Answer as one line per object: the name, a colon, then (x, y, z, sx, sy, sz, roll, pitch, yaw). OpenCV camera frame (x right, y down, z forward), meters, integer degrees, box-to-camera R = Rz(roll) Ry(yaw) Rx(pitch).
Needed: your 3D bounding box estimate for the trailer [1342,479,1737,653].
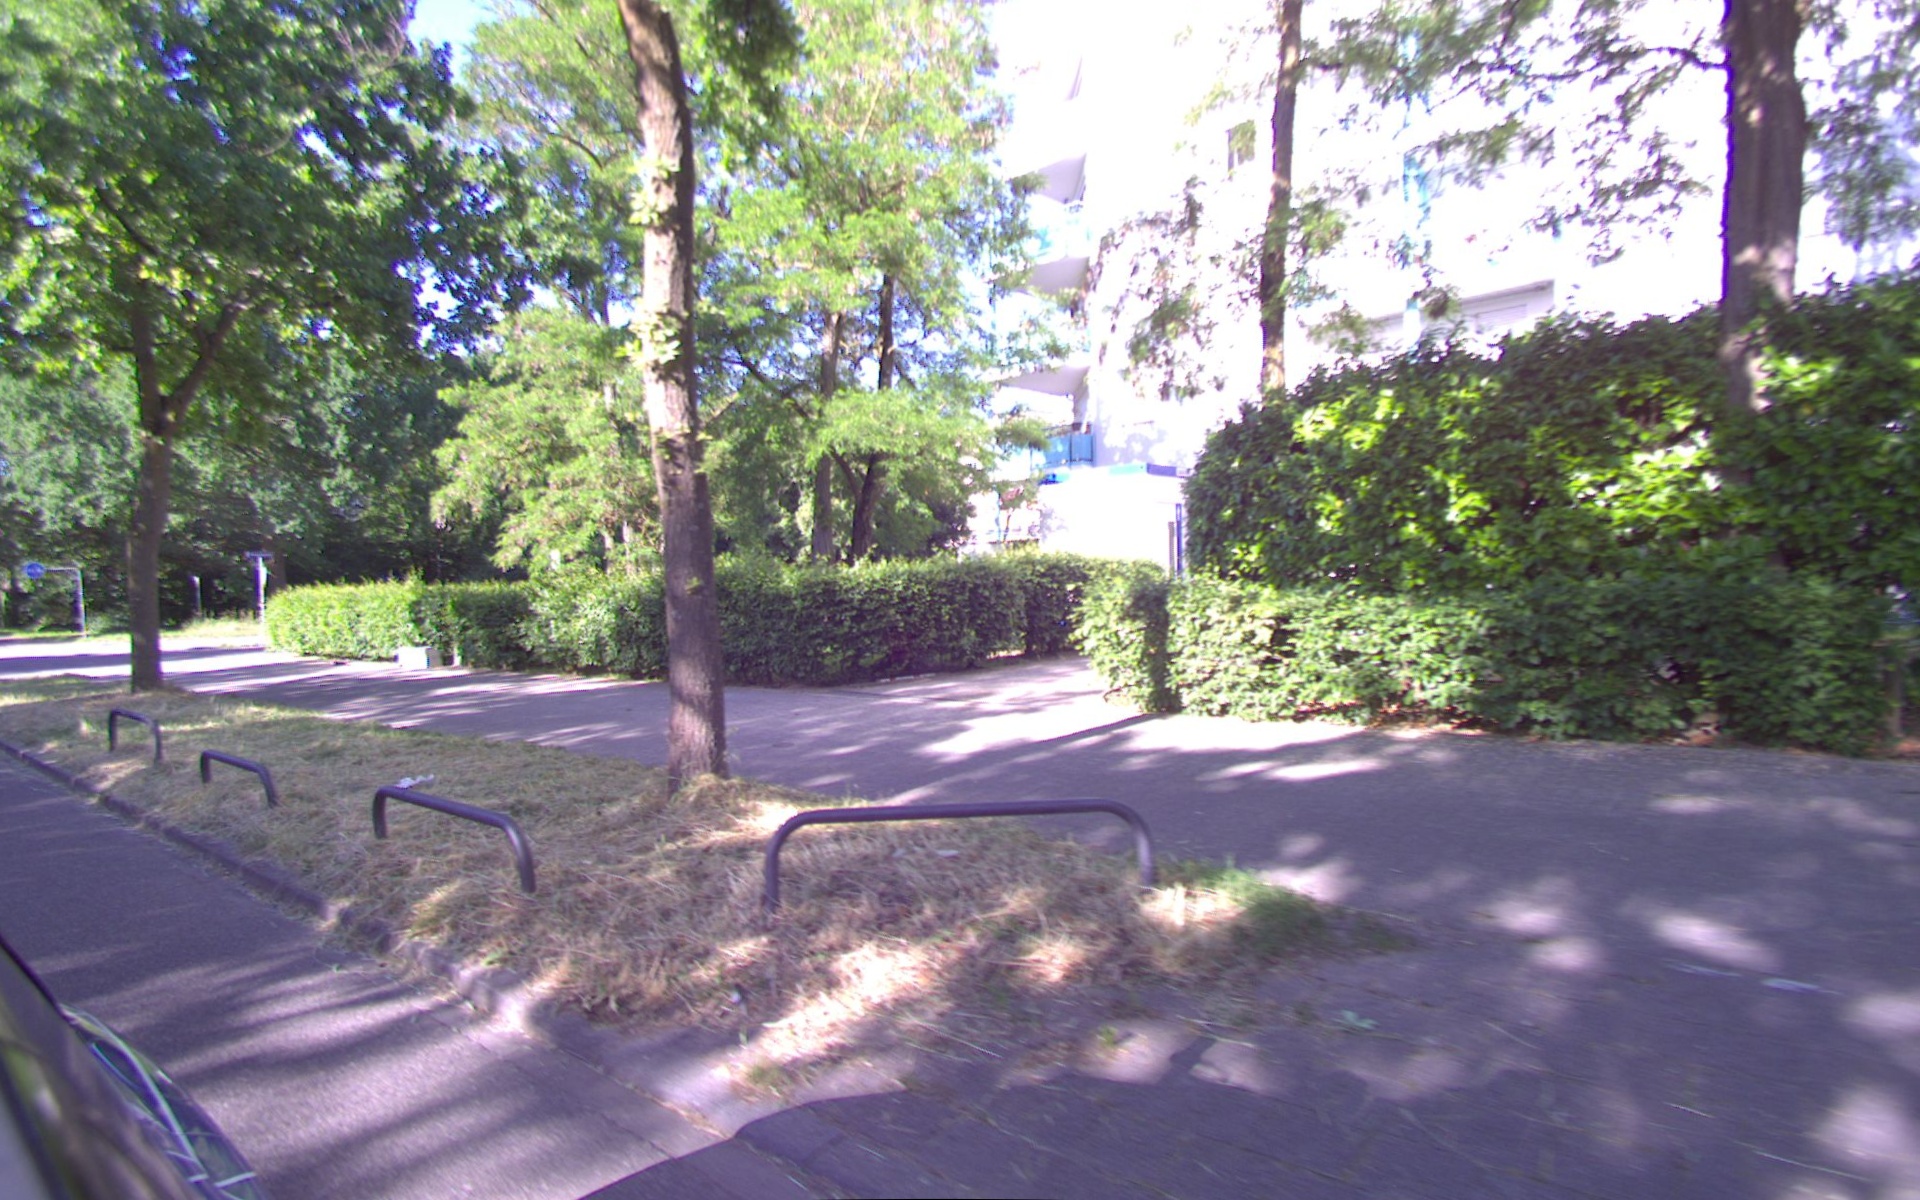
trailer: (7.990, -0.404, 14.269, 1.953, 2.058, 4.433, -2, 1, -44)
